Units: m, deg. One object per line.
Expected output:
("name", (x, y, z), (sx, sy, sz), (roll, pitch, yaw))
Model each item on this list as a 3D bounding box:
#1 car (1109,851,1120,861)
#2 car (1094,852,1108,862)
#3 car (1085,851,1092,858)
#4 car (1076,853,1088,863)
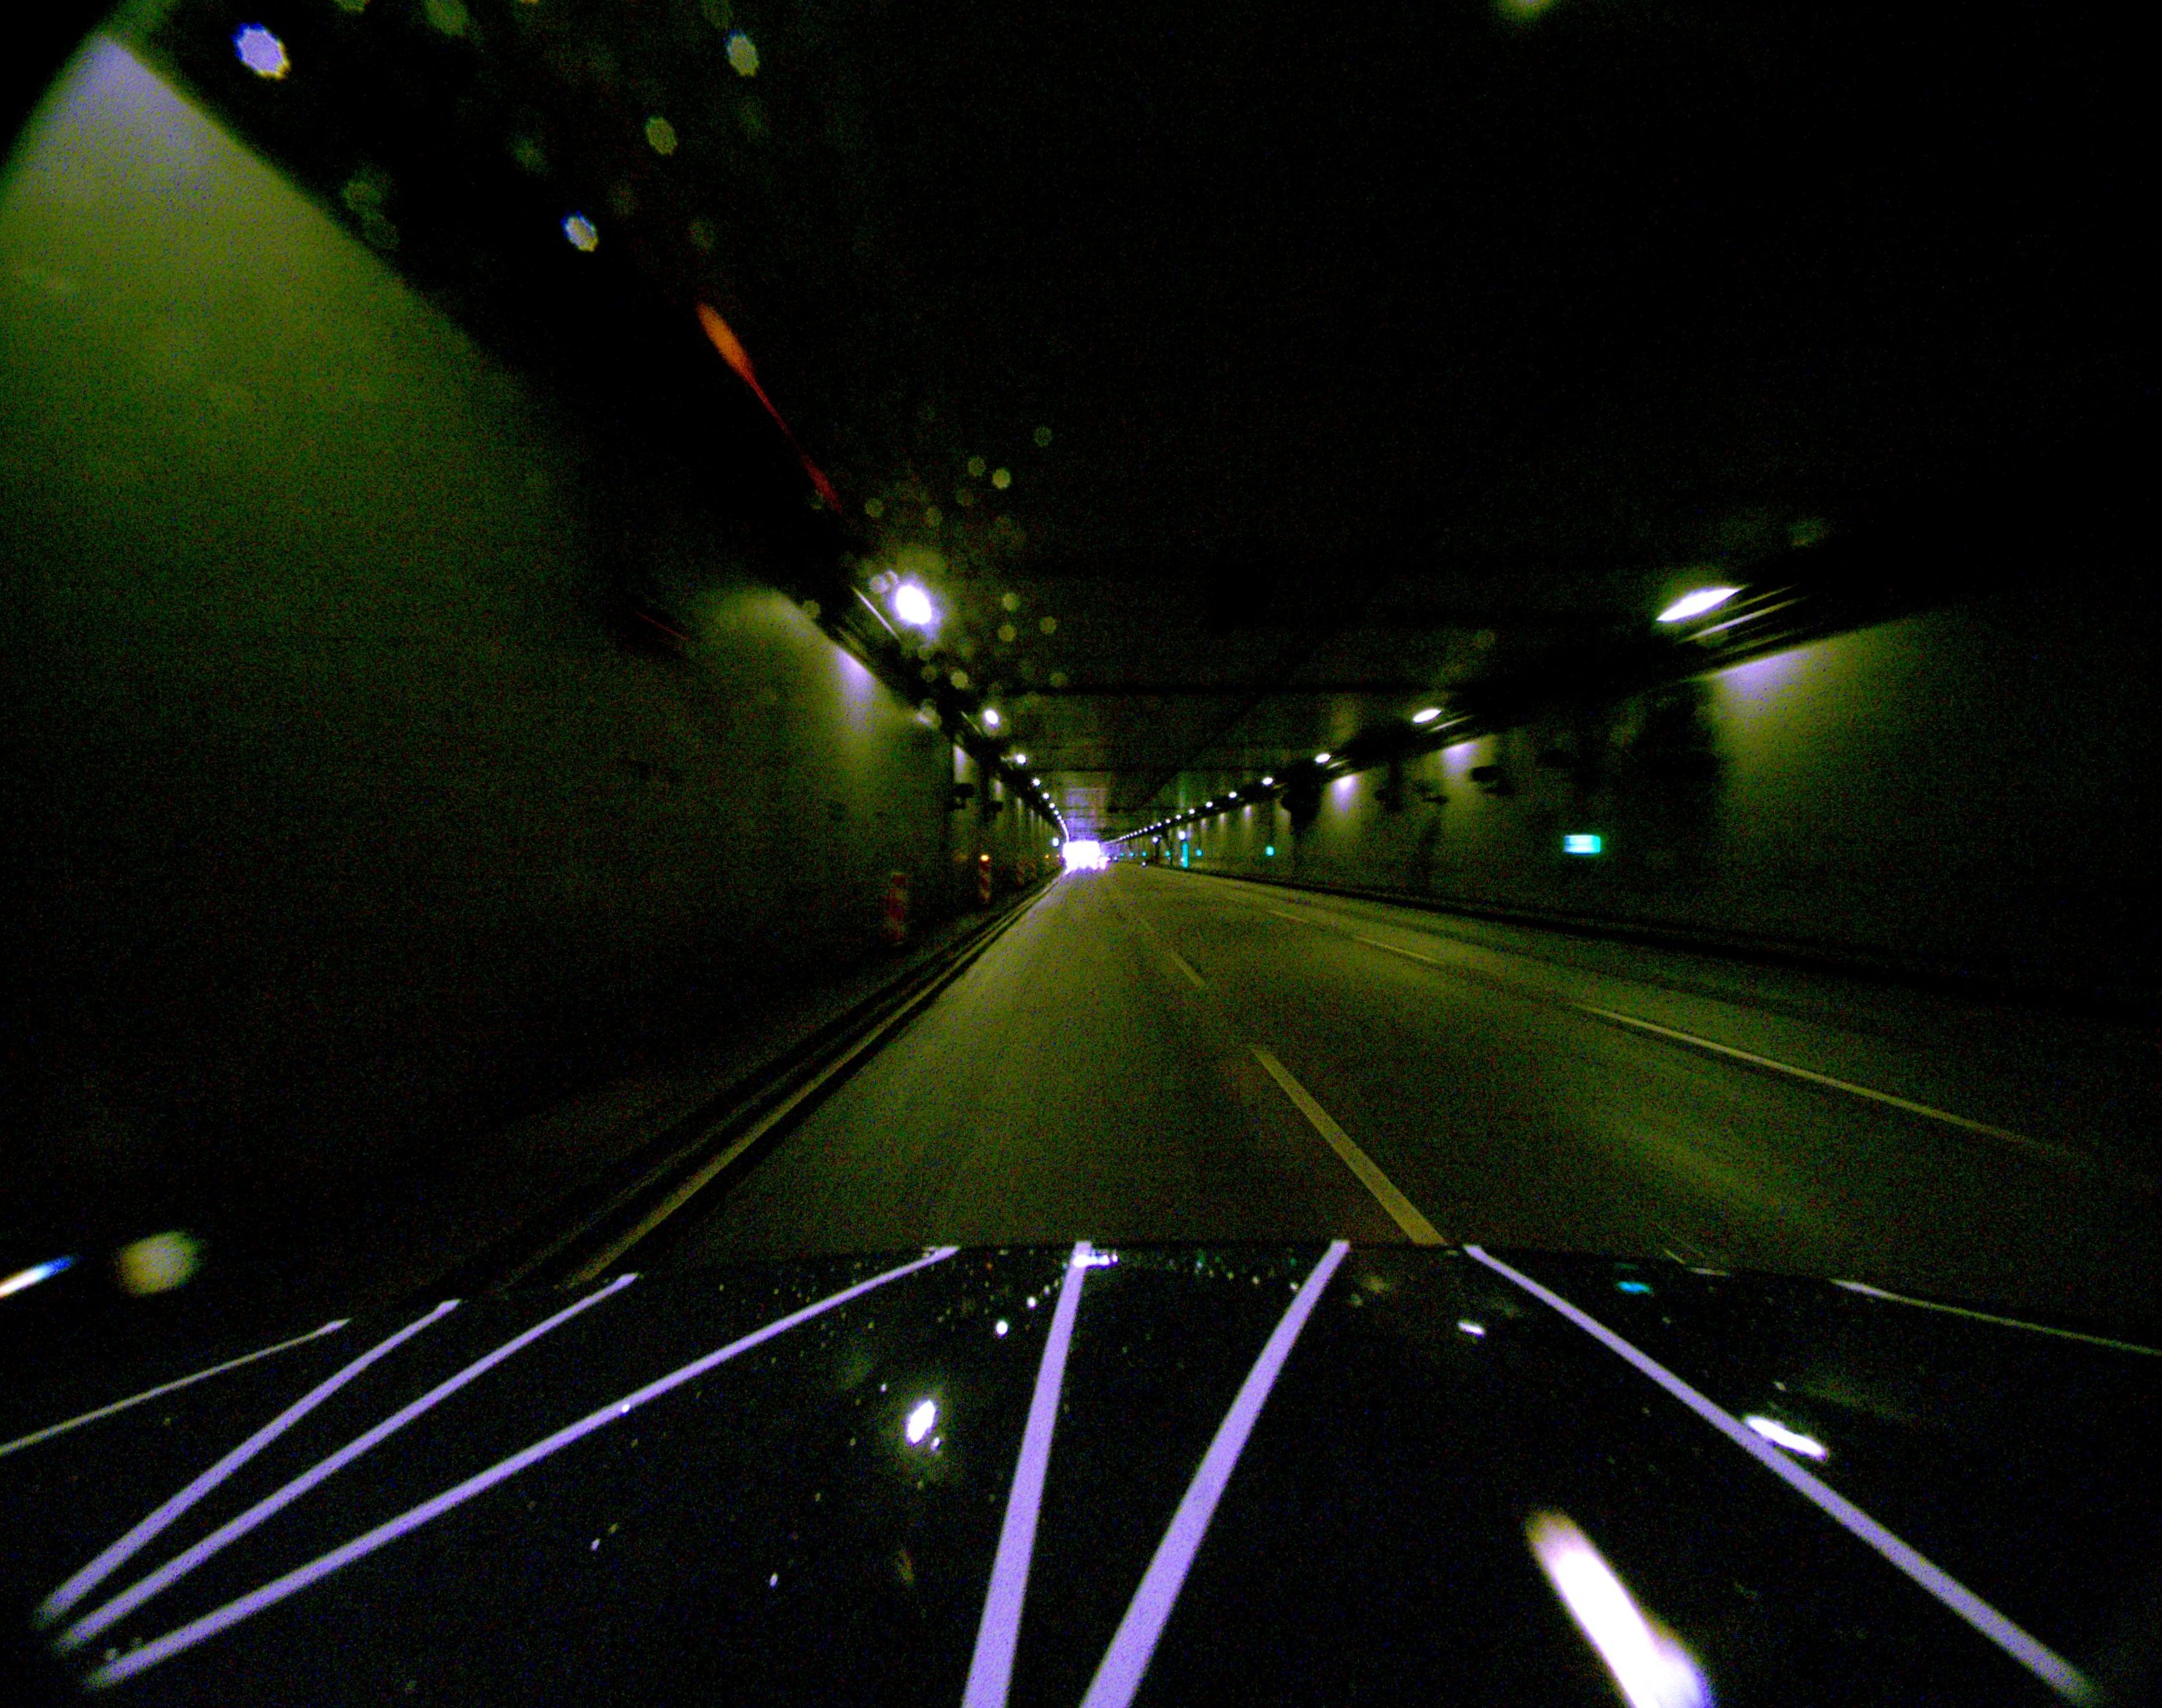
("car", (6.182, 0.369, 140.055), (1.998, 1.685, 4.001), (-1, -1, 1))
("car", (3.317, 0.493, 126.369), (1.998, 1.686, 4.001), (-2, 0, 5))
("car", (2.153, 0.170, 212.898), (1.998, 1.756, 4.000), (-1, 0, 1))
("car", (0.114, 0.745, 133.554), (1.998, 1.686, 4.000), (-1, 0, 1))
